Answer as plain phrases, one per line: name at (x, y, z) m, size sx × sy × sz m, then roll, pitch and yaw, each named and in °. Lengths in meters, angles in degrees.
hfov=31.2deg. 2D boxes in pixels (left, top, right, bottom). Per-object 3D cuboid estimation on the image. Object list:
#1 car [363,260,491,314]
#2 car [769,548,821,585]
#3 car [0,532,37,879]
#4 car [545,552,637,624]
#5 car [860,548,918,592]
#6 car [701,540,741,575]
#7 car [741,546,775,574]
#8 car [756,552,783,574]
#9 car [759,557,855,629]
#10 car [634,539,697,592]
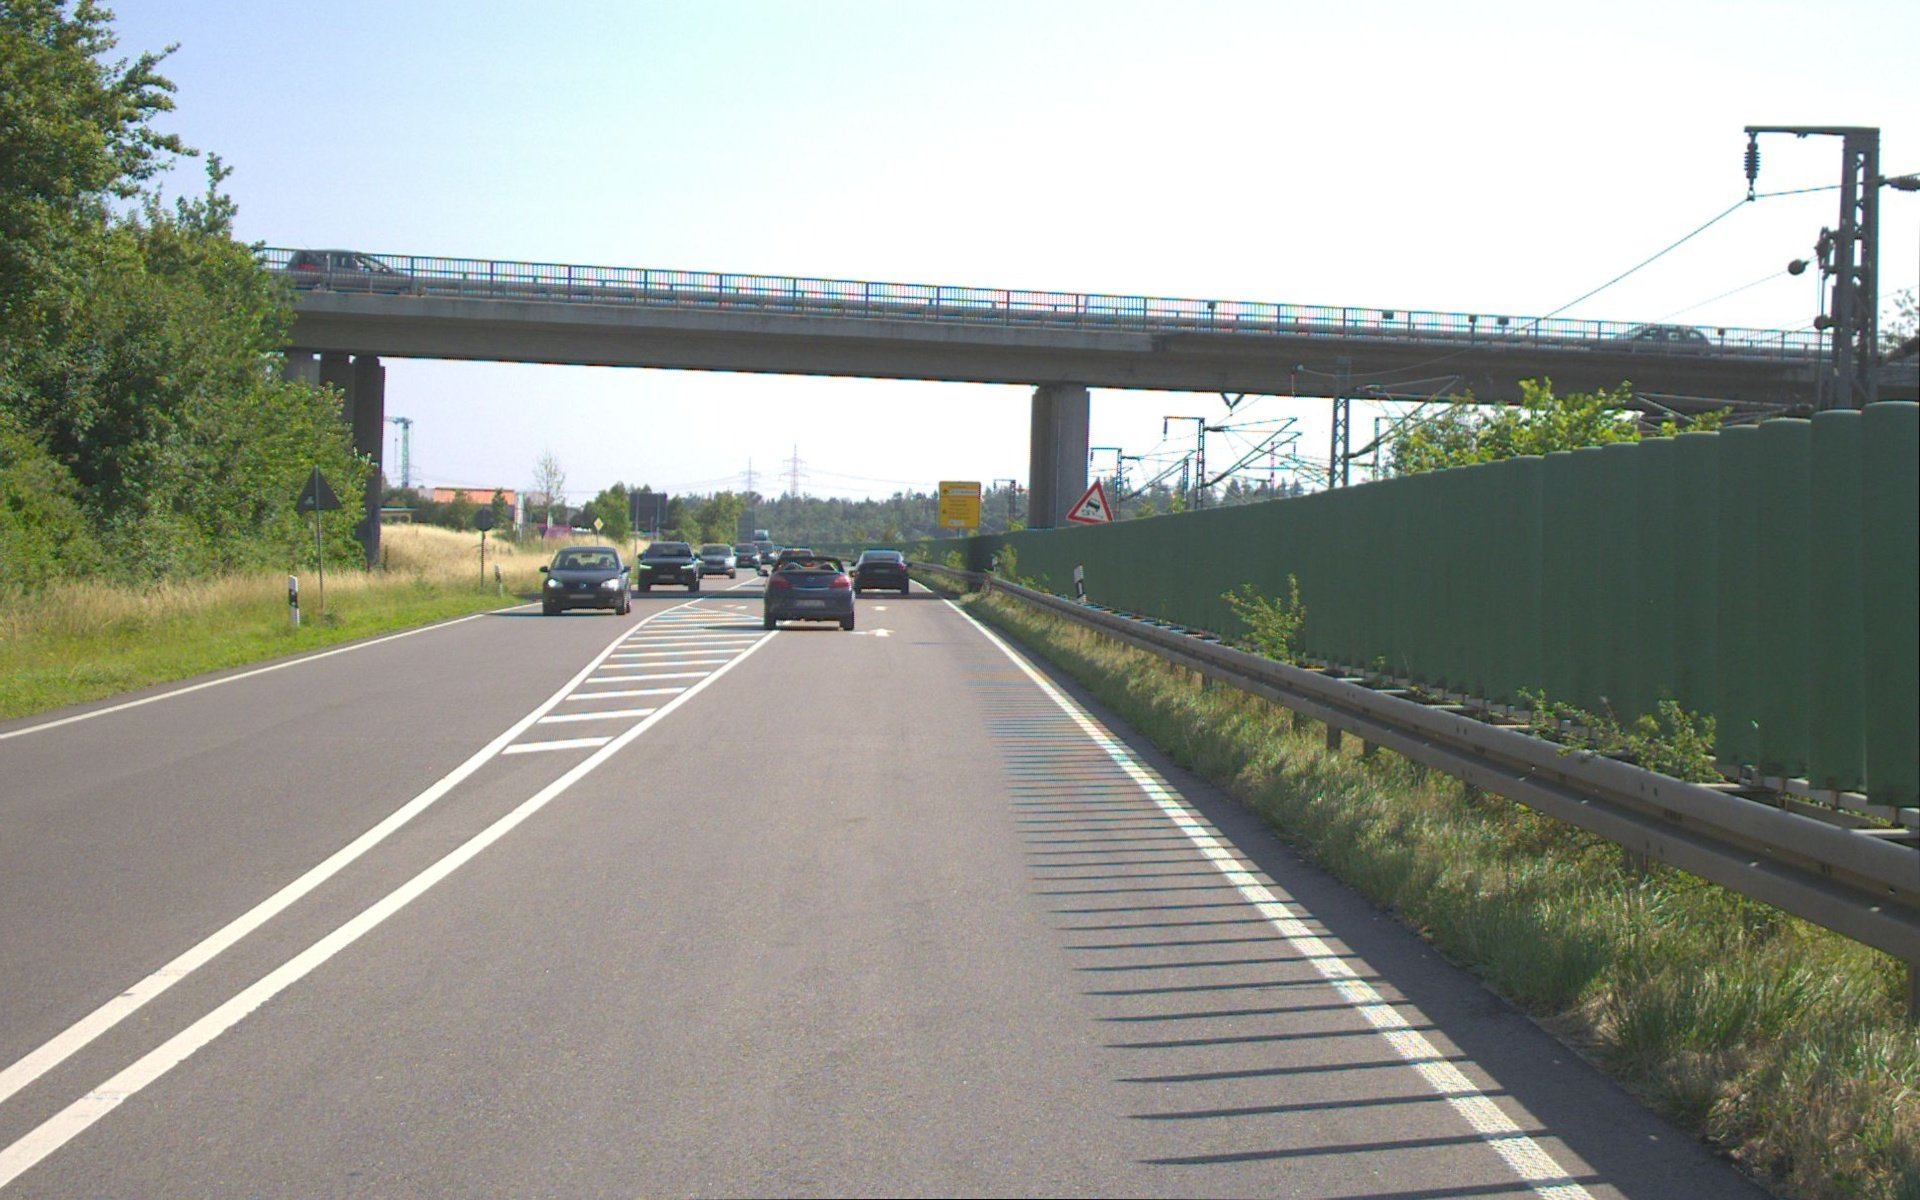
car at (-15.411, -9.042, 99.453) m, size 3.366 × 1.314 × 1.579 m, roll 1°, pitch 0°, yaw -23°
car at (-6.442, -1.310, 134.608) m, size 1.895 × 1.413 × 4.000 m, roll 1°, pitch 1°, yaw -1°
car at (-5.162, 0.496, 14.089) m, size 1.856 × 1.554 × 4.001 m, roll 0°, pitch 1°, yaw -3°
car at (-7.938, -0.287, 74.211) m, size 1.749 × 1.476 × 4.001 m, roll 1°, pitch 1°, yaw -3°
car at (-2.384, -1.012, 114.899) m, size 1.895 × 1.413 × 4.000 m, roll 1°, pitch 1°, yaw -1°
car at (-11.391, -2.029, 164.139) m, size 1.845 × 1.625 × 4.001 m, roll 1°, pitch 1°, yaw -3°
car at (-12.188, -2.395, 207.357) m, size 1.895 × 1.625 × 4.000 m, roll 1°, pitch 1°, yaw -1°
car at (-14.070, -2.739, 254.087) m, size 1.895 × 1.625 × 4.000 m, roll 1°, pitch 1°, yaw -1°
car at (-2.814, -0.146, 63.822) m, size 1.663 × 1.257 × 4.000 m, roll 1°, pitch 1°, yaw -1°
car at (-9.759, -1.163, 114.111) m, size 1.922 × 1.587 × 4.430 m, roll 4°, pitch 1°, yaw -4°
